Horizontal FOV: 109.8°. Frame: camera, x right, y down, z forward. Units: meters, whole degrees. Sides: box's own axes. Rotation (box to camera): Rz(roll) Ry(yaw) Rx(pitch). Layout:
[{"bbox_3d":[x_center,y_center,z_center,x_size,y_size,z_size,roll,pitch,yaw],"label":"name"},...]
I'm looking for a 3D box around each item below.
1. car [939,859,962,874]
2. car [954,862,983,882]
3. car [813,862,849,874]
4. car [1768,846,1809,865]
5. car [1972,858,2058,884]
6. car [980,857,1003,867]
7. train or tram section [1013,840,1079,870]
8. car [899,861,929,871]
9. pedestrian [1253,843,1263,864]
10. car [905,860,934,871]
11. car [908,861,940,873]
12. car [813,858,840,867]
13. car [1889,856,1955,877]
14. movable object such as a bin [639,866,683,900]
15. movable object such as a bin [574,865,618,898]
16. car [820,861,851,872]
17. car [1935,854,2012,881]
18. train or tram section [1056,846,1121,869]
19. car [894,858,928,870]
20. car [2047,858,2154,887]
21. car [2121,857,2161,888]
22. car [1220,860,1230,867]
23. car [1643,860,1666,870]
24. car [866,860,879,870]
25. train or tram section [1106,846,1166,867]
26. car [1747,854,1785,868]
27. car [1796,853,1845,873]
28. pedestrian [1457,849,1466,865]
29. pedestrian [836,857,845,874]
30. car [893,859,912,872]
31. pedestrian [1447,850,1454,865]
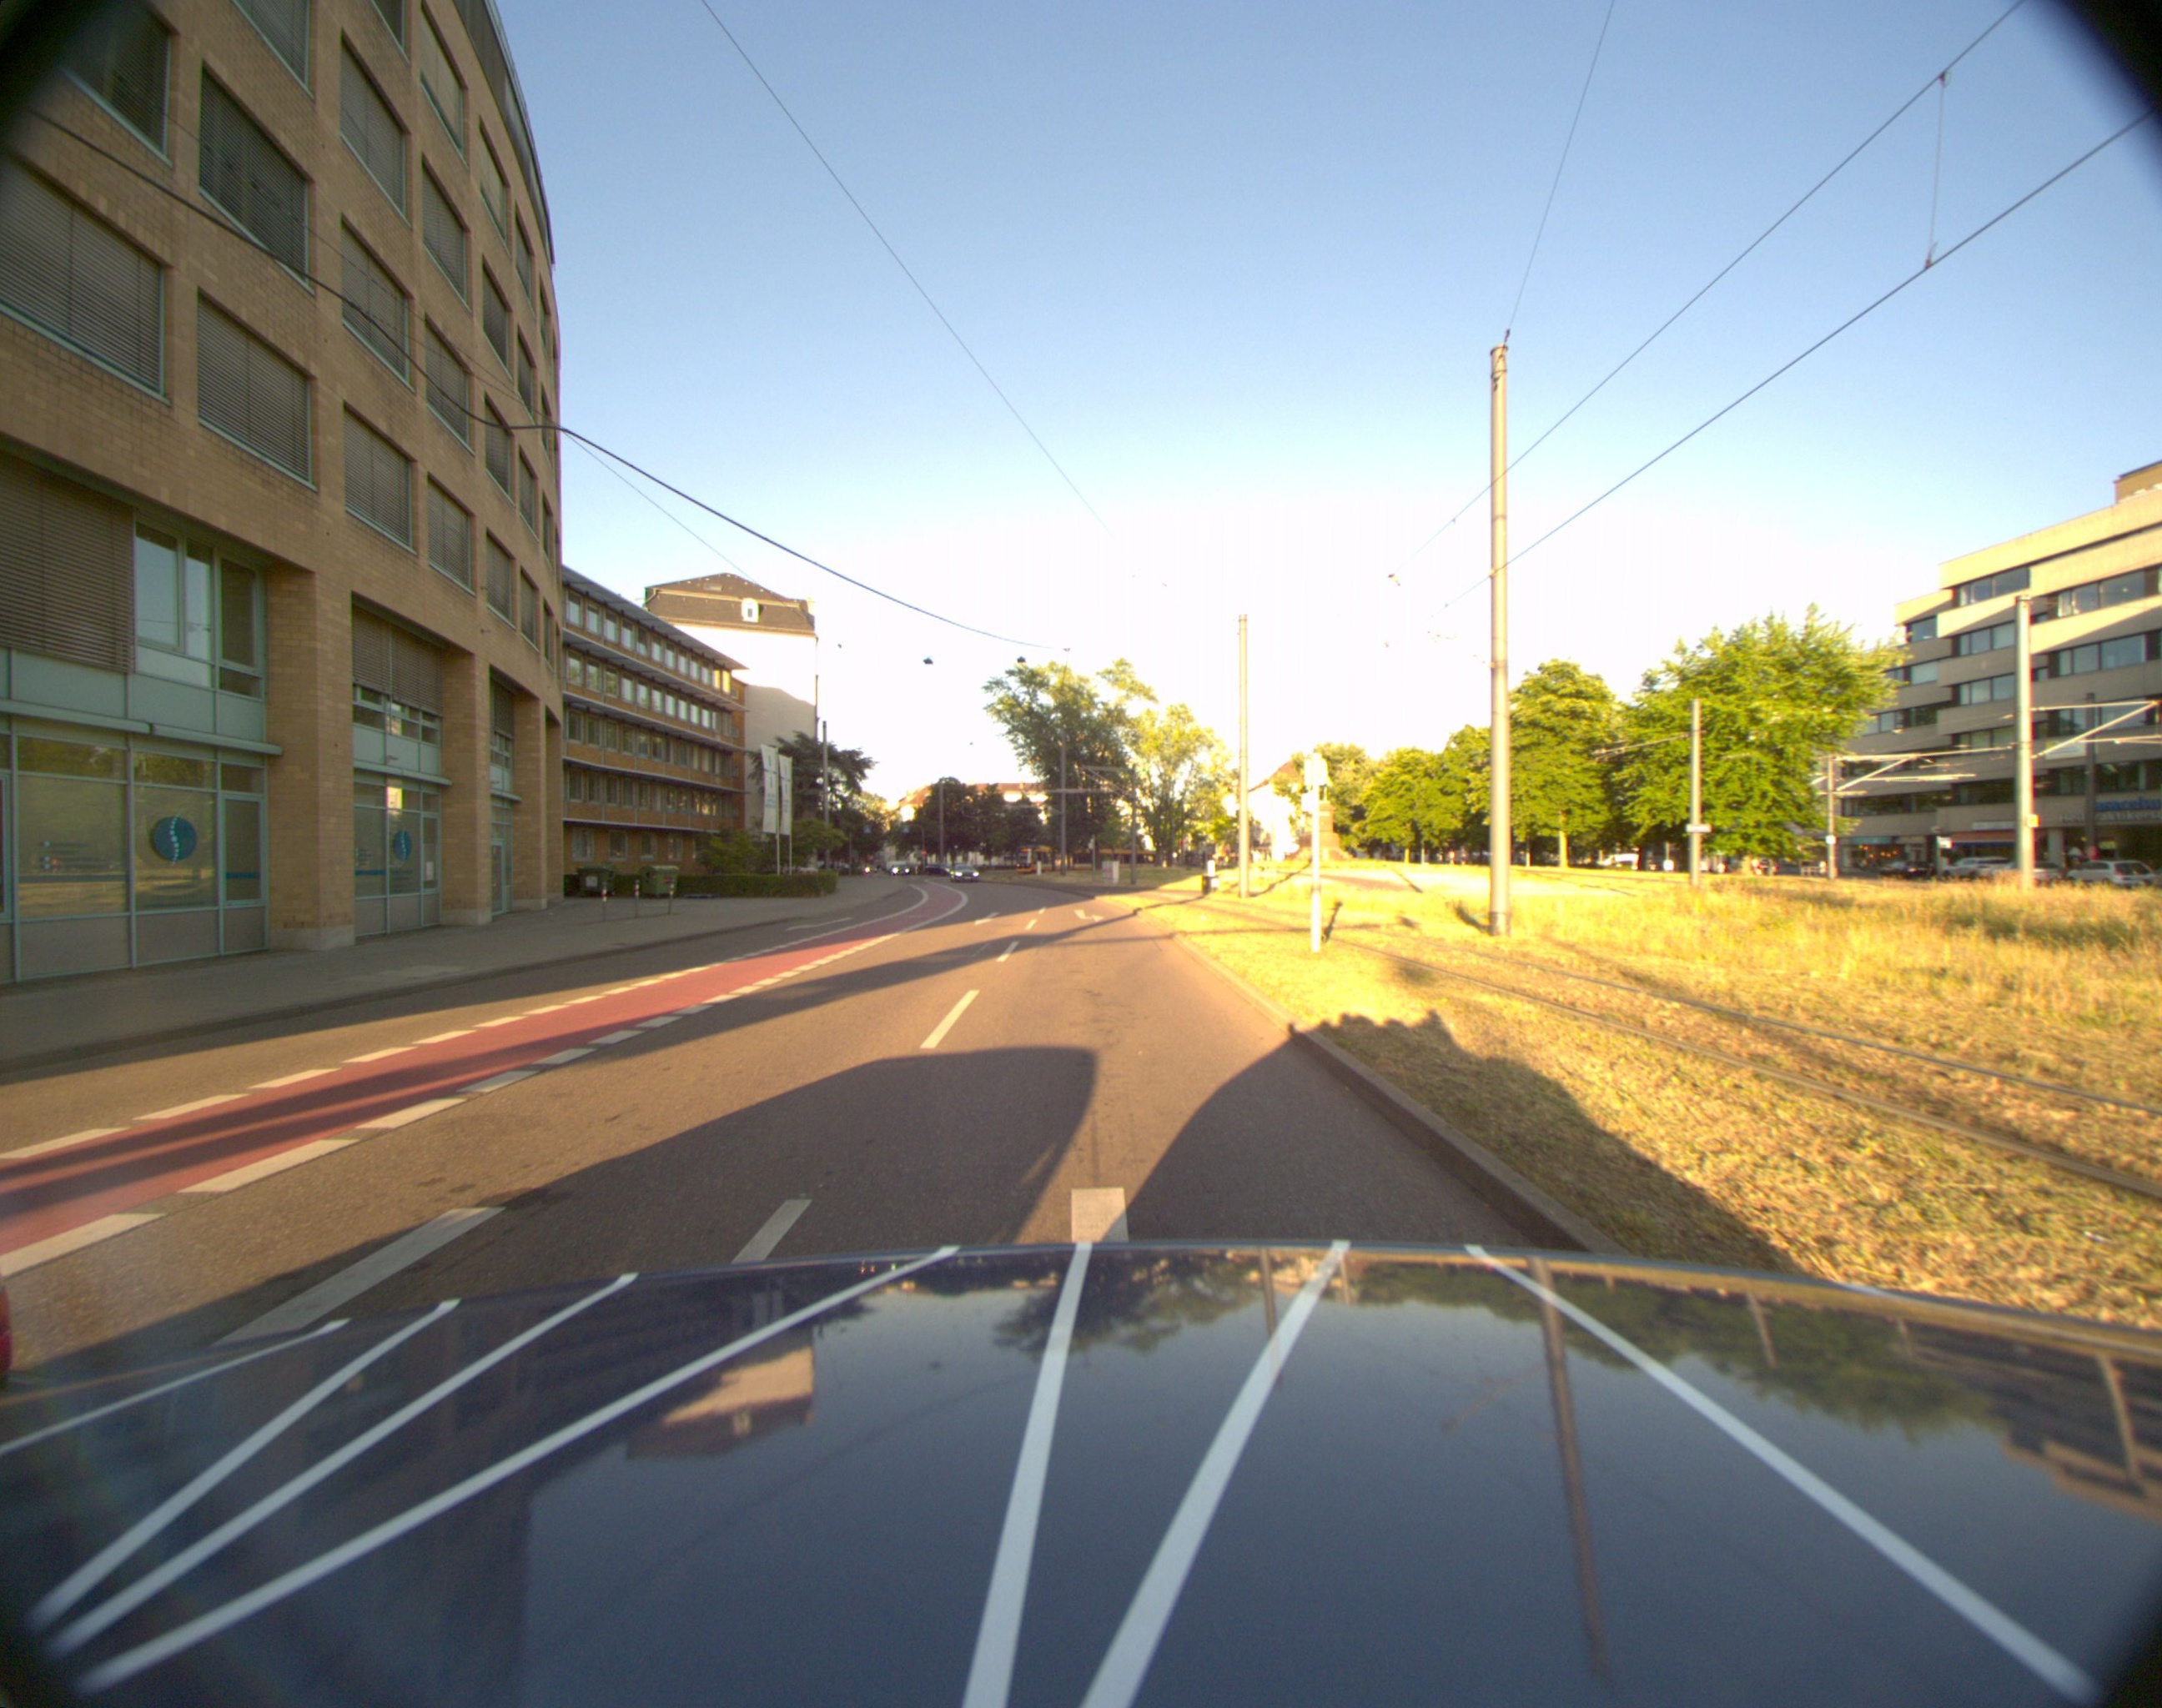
[{"bbox_3d":[-13.599,1.300,79.064,1.822,1.473,4.130,0,-1,-18],"label":"car"},{"bbox_3d":[-9.074,1.441,60.944,1.822,1.473,4.131,0,-1,-15],"label":"car"},{"bbox_3d":[-32.698,1.802,99.461,4.403,1.548,1.835,0,-1,-20],"label":"car"},{"bbox_3d":[73.036,0.192,78.483,1.755,1.932,4.217,-1,-1,23],"label":"car"},{"bbox_3d":[58.642,1.052,47.798,1.755,1.542,4.007,-1,-1,23],"label":"car"},{"bbox_3d":[-16.177,1.500,137.788,4.011,1.714,1.701,0,-1,-1],"label":"car"},{"bbox_3d":[-4.126,0.069,95.160,2.943,3.563,13.388,-1,0,22],"label":"train or tram section"},{"bbox_3d":[-24.241,1.756,110.406,4.067,1.542,1.999,0,-1,-6],"label":"car"},{"bbox_3d":[13.917,-0.048,59.681,0.476,1.680,0.835,0,0,-14],"label":"pedestrian"},{"bbox_3d":[-24.006,1.783,112.961,4.067,1.608,1.999,0,-1,-6],"label":"car"},{"bbox_3d":[-21.196,1.736,102.603,4.067,1.547,1.865,0,-1,-6],"label":"car"},{"bbox_3d":[-45.157,1.560,134.779,4.404,1.603,1.726,0,-1,-22],"label":"car"},{"bbox_3d":[64.194,0.956,58.081,1.861,1.547,4.076,-1,-1,23],"label":"car"},{"bbox_3d":[-18.143,1.224,32.832,0.972,1.429,1.347,-1,-1,19],"label":"movable object such as a bin"},{"bbox_3d":[-21.190,1.173,33.202,1.345,1.415,0.924,0,-1,-7],"label":"movable object such as a bin"},{"bbox_3d":[-33.716,1.742,104.347,4.072,1.560,1.835,0,-1,-19],"label":"car"},{"bbox_3d":[61.418,0.962,52.376,1.755,1.784,4.217,-1,-1,23],"label":"car"},{"bbox_3d":[1.274,0.433,106.185,2.924,3.123,12.881,-1,0,31],"label":"train or tram section"},{"bbox_3d":[-27.865,1.697,124.911,5.078,1.891,2.122,0,-1,2],"label":"car"},{"bbox_3d":[56.391,1.026,42.152,1.755,1.542,4.007,-1,-1,23],"label":"car"},{"bbox_3d":[54.210,0.923,37.491,1.755,1.542,4.008,-1,-1,26],"label":"car"},{"bbox_3d":[33.036,2.152,174.644,1.723,1.542,3.968,0,-1,1],"label":"car"},{"bbox_3d":[87.520,1.691,116.089,1.861,1.547,4.076,-1,-1,23],"label":"car"},{"bbox_3d":[-32.864,1.707,119.935,1.822,1.473,4.131,-1,-1,-14],"label":"car"},{"bbox_3d":[8.611,0.345,116.579,2.918,3.123,12.671,-1,0,36],"label":"train or tram section"},{"bbox_3d":[70.010,0.744,77.718,1.707,1.381,4.008,-1,-1,25],"label":"car"},{"bbox_3d":[70.876,0.894,72.867,1.935,1.784,4.217,-1,-1,23],"label":"car"},{"bbox_3d":[38.448,0.312,76.696,0.619,1.571,0.553,0,-1,2],"label":"pedestrian"},{"bbox_3d":[-24.845,1.163,78.498,0.591,1.781,0.822,0,-1,11],"label":"pedestrian"},{"bbox_3d":[-21.672,1.394,92.102,1.823,1.473,4.129,0,-1,-19],"label":"car"},{"bbox_3d":[37.551,0.336,77.167,0.453,1.503,0.553,0,-1,2],"label":"pedestrian"}]
